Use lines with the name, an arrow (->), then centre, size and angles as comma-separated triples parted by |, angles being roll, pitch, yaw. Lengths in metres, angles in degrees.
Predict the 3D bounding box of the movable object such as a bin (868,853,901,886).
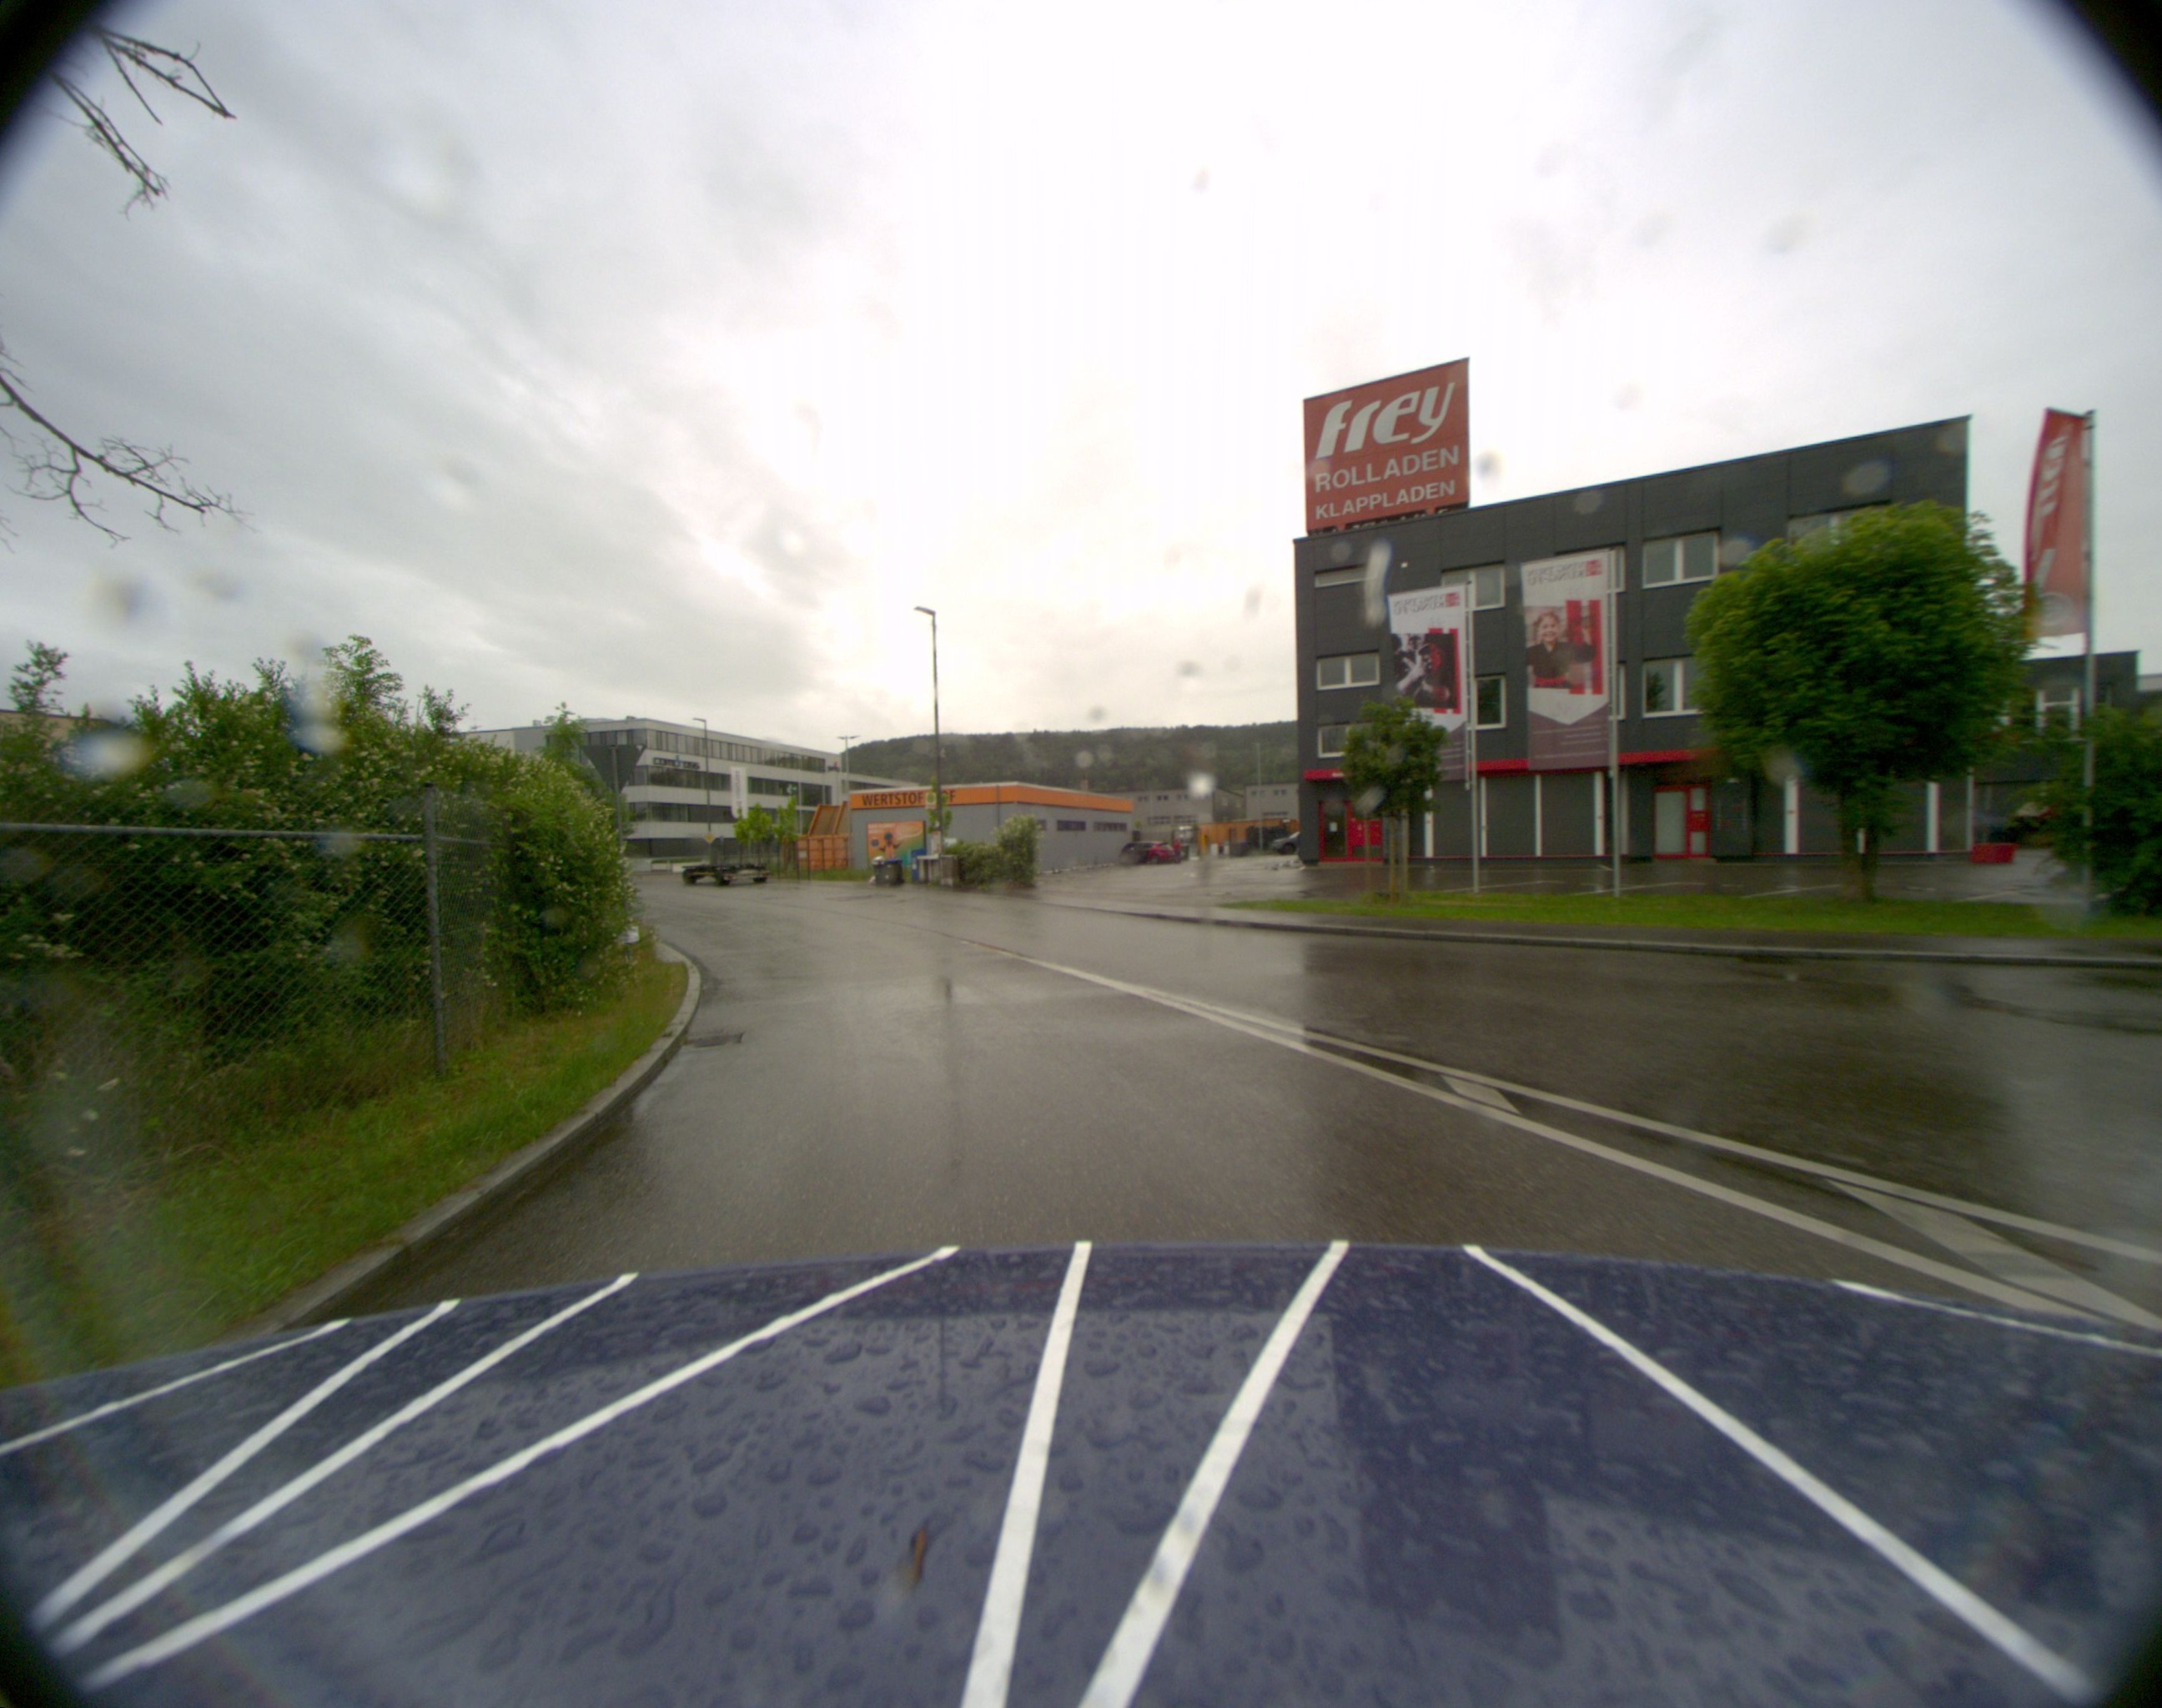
movable object such as a bin -> -8.306, 0.636, 32.119 | 0.983, 1.315, 1.000 | -2, 1, -38

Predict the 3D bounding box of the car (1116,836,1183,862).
car -> 4.433, -0.331, 49.495 | 3.988, 1.566, 1.928 | -1, 1, 43

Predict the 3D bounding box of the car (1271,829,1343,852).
car -> 14.754, -0.873, 49.850 | 4.192, 1.379, 2.000 | -1, 1, 4

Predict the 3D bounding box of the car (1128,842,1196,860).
car -> 5.503, -0.186, 51.892 | 4.185, 1.154, 1.936 | -1, 1, 36

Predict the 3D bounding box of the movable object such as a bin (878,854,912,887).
movable object such as a bin -> -7.678, 0.669, 31.322 | 0.983, 1.315, 1.000 | -2, 1, -38

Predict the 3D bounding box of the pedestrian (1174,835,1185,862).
pedestrian -> 6.226, -0.356, 48.020 | 0.430, 1.662, 0.704 | -1, 1, 27

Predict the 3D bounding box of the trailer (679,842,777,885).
trailer -> -19.085, 0.485, 40.883 | 6.617, 2.002, 2.582 | -1, 3, 45
